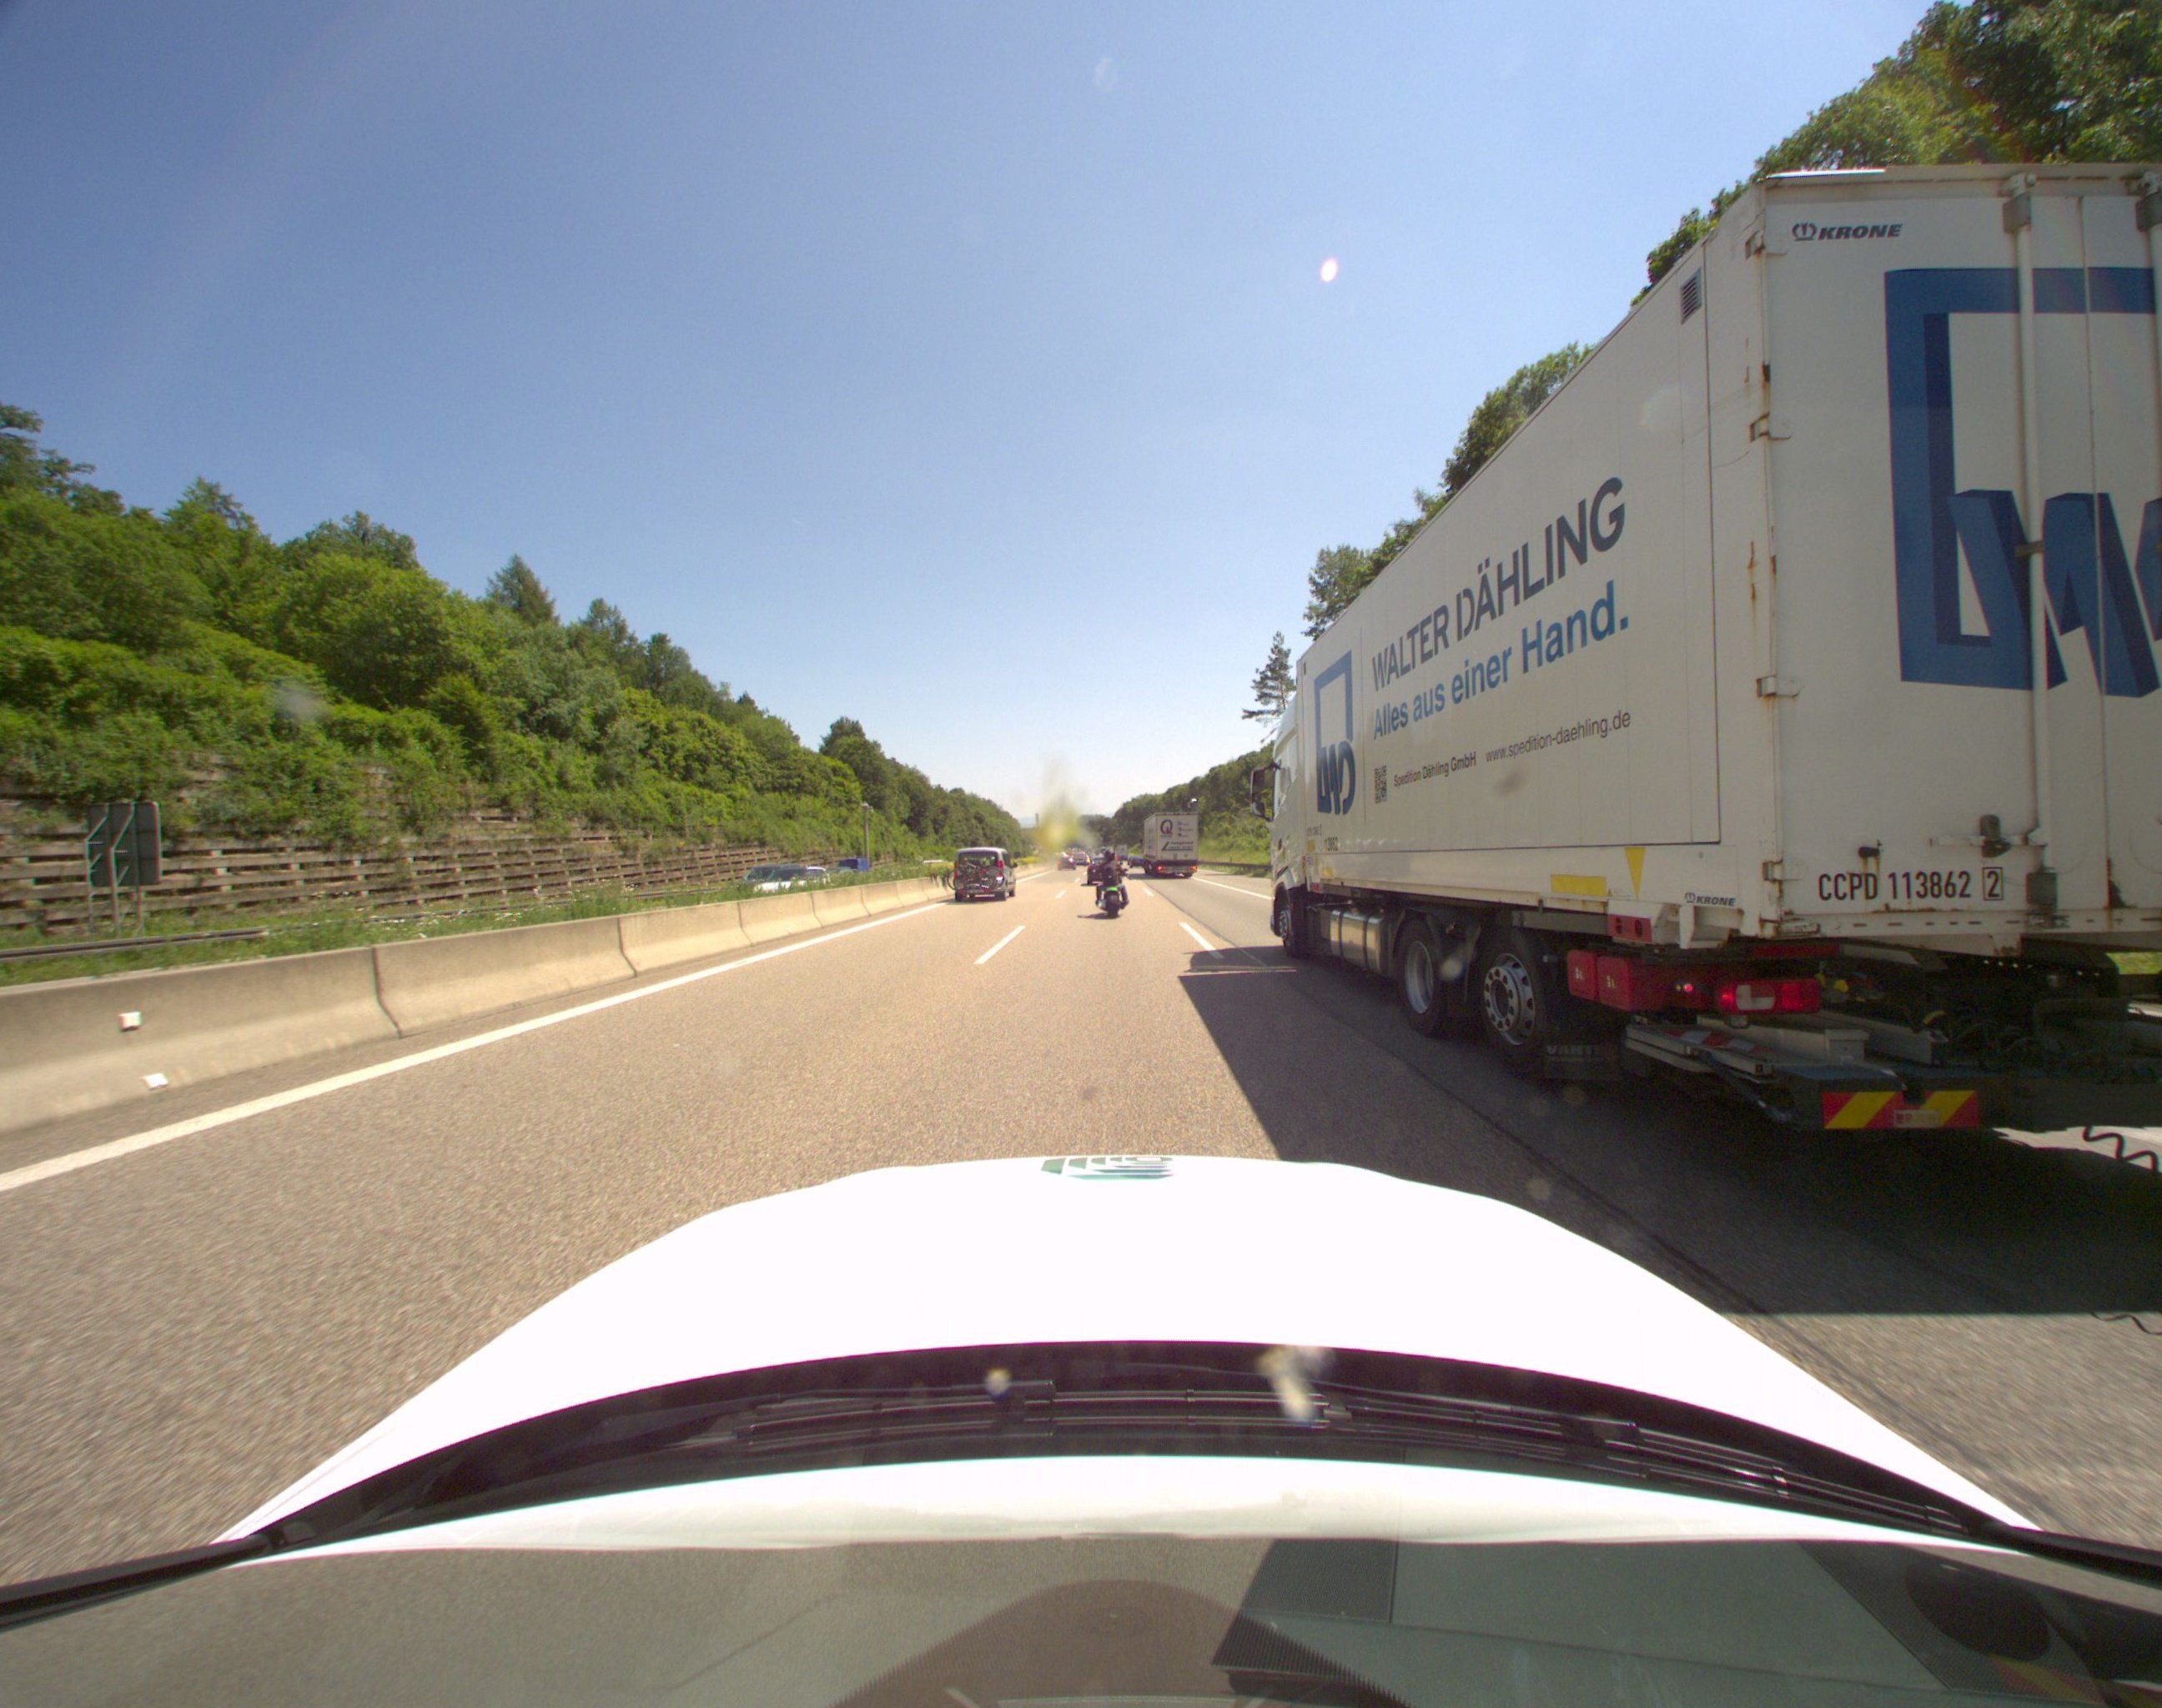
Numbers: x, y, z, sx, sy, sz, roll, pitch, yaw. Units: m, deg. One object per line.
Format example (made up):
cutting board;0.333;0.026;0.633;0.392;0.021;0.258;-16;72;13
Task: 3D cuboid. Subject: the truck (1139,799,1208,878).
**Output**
truck;6.141;-1.052;57.486;3.370;4.717;17.717;0;1;2

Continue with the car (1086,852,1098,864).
car;1.780;0.590;127.107;1.824;1.810;4.121;-1;1;1

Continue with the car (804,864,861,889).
car;-17.092;1.502;56.272;1.929;1.522;5.480;-2;0;3

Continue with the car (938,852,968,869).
car;-12.131;0.592;77.316;1.929;1.522;4.206;-2;0;3

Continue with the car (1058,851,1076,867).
car;-1.435;0.472;84.716;1.751;1.543;4.397;-1;1;1

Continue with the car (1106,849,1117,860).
car;4.811;0.095;128.930;1.824;1.558;4.121;-1;1;1

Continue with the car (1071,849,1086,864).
car;-0.289;0.324;109.699;1.824;1.810;4.121;-1;1;1

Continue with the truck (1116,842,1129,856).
truck;10.185;-1.319;202.134;3.056;3.346;9.656;0;1;2

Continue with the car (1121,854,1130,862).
car;9.663;0.889;178.094;1.824;1.558;4.121;-1;1;1

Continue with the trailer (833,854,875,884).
trailer;-16.890;1.103;60.776;1.888;2.117;3.497;-2;0;3

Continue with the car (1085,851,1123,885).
car;1.182;0.664;42.116;1.839;1.557;4.441;-1;1;1

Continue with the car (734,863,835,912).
car;-10.691;1.159;29.714;1.929;1.522;4.206;-2;0;3

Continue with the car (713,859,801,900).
car;-13.524;1.026;34.277;1.781;1.522;4.206;-2;0;3

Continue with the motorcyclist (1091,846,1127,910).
motorcyclist;0.691;0.564;19.957;0.852;1.515;0.914;-1;0;2

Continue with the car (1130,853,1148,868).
car;6.480;0.666;91.990;1.824;1.558;4.121;-1;1;1

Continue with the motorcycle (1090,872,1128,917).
motorcycle;0.708;0.963;20.102;0.859;0.982;2.132;-1;0;3

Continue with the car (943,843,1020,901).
car;-3.426;0.570;29.084;1.891;1.847;5.485;-1;0;1

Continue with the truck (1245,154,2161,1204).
truck;4.014;-0.752;8.478;2.670;4.059;10.629;-1;1;1

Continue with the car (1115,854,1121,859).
car;11.929;0.873;260.865;1.824;1.558;4.121;-1;1;1
